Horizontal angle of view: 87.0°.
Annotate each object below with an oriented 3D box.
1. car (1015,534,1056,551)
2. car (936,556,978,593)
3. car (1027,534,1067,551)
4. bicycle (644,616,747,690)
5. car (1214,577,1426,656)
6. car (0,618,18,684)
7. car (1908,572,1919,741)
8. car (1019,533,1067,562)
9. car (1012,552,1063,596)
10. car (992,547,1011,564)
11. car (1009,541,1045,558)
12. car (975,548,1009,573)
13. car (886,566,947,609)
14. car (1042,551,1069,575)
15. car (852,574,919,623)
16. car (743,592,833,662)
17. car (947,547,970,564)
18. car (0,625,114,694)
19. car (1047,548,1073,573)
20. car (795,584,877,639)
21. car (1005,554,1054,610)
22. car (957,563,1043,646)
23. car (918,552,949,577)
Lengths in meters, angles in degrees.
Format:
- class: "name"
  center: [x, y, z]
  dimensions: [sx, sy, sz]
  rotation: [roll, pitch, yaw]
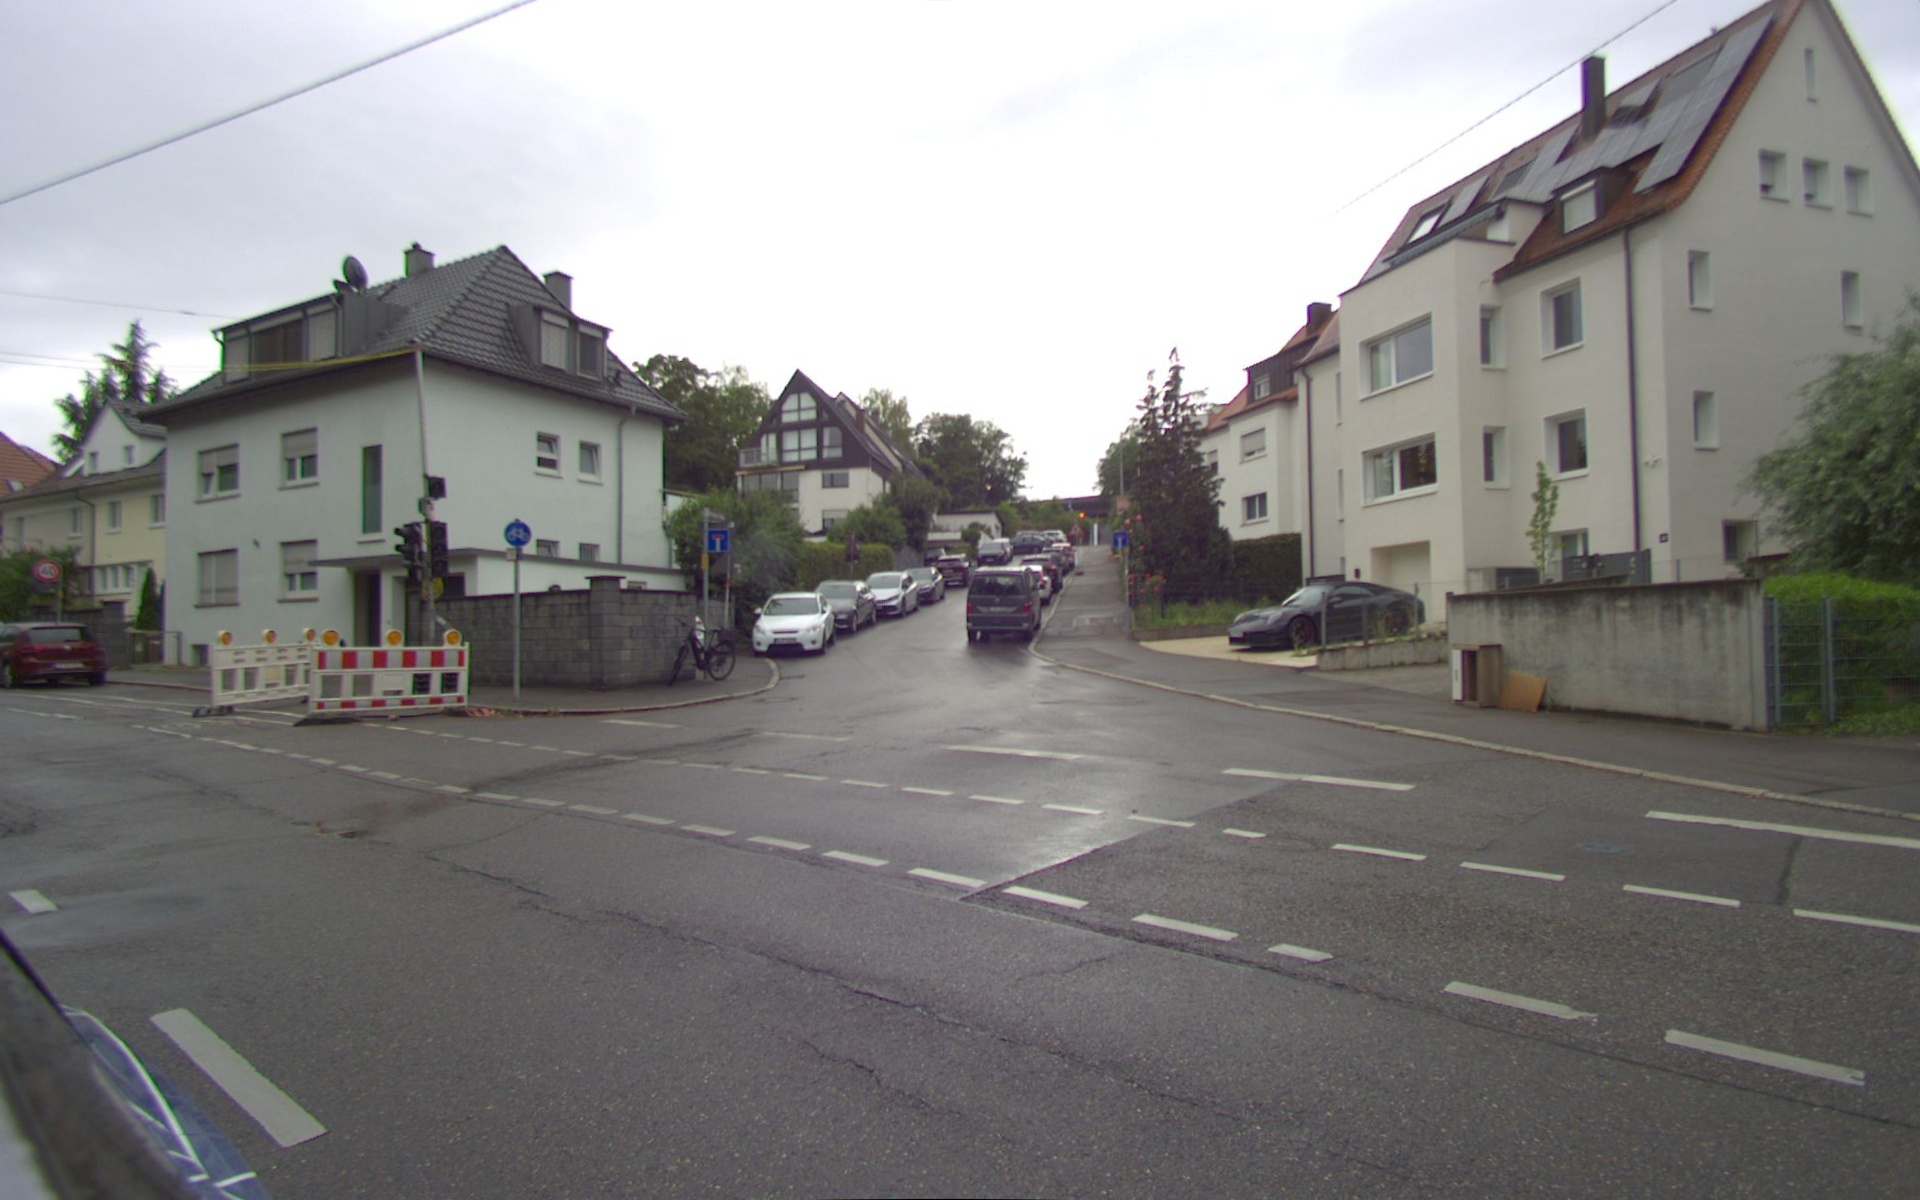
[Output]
- class: "car"
  center: [7.394, -5.580, 98.785]
  dimensions: [3.922, 1.528, 1.748]
  rotation: [-1, 0, 6]
- class: "car"
  center: [-0.112, -1.360, 52.460]
  dimensions: [1.623, 1.637, 3.992]
  rotation: [-1, 5, 8]
- class: "car"
  center: [8.942, -5.890, 103.910]
  dimensions: [3.782, 1.529, 1.664]
  rotation: [-1, -1, 15]
- class: "bicycle"
  center: [-4.784, 0.929, 18.453]
  dimensions: [0.508, 1.249, 1.984]
  rotation: [1, 0, 32]
- class: "car"
  center: [7.708, 0.331, 21.767]
  dimensions: [3.942, 1.290, 1.613]
  rotation: [-5, 1, -13]
- class: "car"
  center: [-26.152, 1.317, 25.770]
  dimensions: [4.131, 1.653, 1.782]
  rotation: [-1, -1, 25]
- class: "car"
  center: [10.606, 0.419, 8.544]
  dimensions: [3.934, 1.497, 1.780]
  rotation: [-2, -1, -12]
- class: "car"
  center: [7.205, -4.555, 87.639]
  dimensions: [3.954, 2.028, 1.995]
  rotation: [-5, -1, 8]
- class: "car"
  center: [3.523, -1.192, 45.371]
  dimensions: [1.823, 1.699, 4.039]
  rotation: [-1, 5, 11]
- class: "car"
  center: [3.061, -3.321, 74.706]
  dimensions: [1.292, 1.206, 2.980]
  rotation: [-1, 3, 5]
- class: "car"
  center: [5.556, -4.191, 83.650]
  dimensions: [2.914, 1.328, 1.282]
  rotation: [-1, 0, 4]
- class: "car"
  center: [2.198, -2.665, 68.881]
  dimensions: [1.770, 1.531, 4.016]
  rotation: [-1, 0, 9]
- class: "car"
  center: [-1.805, -0.552, 42.955]
  dimensions: [1.903, 1.448, 4.100]
  rotation: [-1, 5, 7]
- class: "car"
  center: [5.505, -2.140, 58.107]
  dimensions: [1.274, 1.325, 2.984]
  rotation: [-1, 3, 10]
- class: "car"
  center: [-2.656, -0.084, 37.082]
  dimensions: [1.738, 1.481, 3.940]
  rotation: [-1, 4, 6]
- class: "car"
  center: [-4.352, 0.623, 26.151]
  dimensions: [1.827, 1.473, 4.124]
  rotation: [-1, 3, -3]
- class: "car"
  center: [-0.080, -3.253, 74.017]
  dimensions: [1.559, 1.220, 3.650]
  rotation: [-1, 3, 2]
- class: "car"
  center: [-21.467, 1.333, 23.378]
  dimensions: [3.833, 1.443, 1.768]
  rotation: [-1, -1, 30]
- class: "car"
  center: [6.240, -2.443, 62.843]
  dimensions: [1.488, 1.373, 3.465]
  rotation: [-1, 0, 8]
- class: "car"
  center: [-3.826, 0.319, 31.813]
  dimensions: [1.702, 1.397, 3.900]
  rotation: [-1, 4, 6]
- class: "car"
  center: [2.821, -0.753, 40.319]
  dimensions: [1.686, 1.843, 4.194]
  rotation: [-1, 6, 7]
- class: "car"
  center: [1.244, 0.049, 29.320]
  dimensions: [1.978, 2.028, 4.482]
  rotation: [-1, 4, 9]
- class: "car"
  center: [-1.825, -2.413, 69.789]
  dimensions: [1.793, 1.566, 4.009]
  rotation: [-1, 0, 3]
